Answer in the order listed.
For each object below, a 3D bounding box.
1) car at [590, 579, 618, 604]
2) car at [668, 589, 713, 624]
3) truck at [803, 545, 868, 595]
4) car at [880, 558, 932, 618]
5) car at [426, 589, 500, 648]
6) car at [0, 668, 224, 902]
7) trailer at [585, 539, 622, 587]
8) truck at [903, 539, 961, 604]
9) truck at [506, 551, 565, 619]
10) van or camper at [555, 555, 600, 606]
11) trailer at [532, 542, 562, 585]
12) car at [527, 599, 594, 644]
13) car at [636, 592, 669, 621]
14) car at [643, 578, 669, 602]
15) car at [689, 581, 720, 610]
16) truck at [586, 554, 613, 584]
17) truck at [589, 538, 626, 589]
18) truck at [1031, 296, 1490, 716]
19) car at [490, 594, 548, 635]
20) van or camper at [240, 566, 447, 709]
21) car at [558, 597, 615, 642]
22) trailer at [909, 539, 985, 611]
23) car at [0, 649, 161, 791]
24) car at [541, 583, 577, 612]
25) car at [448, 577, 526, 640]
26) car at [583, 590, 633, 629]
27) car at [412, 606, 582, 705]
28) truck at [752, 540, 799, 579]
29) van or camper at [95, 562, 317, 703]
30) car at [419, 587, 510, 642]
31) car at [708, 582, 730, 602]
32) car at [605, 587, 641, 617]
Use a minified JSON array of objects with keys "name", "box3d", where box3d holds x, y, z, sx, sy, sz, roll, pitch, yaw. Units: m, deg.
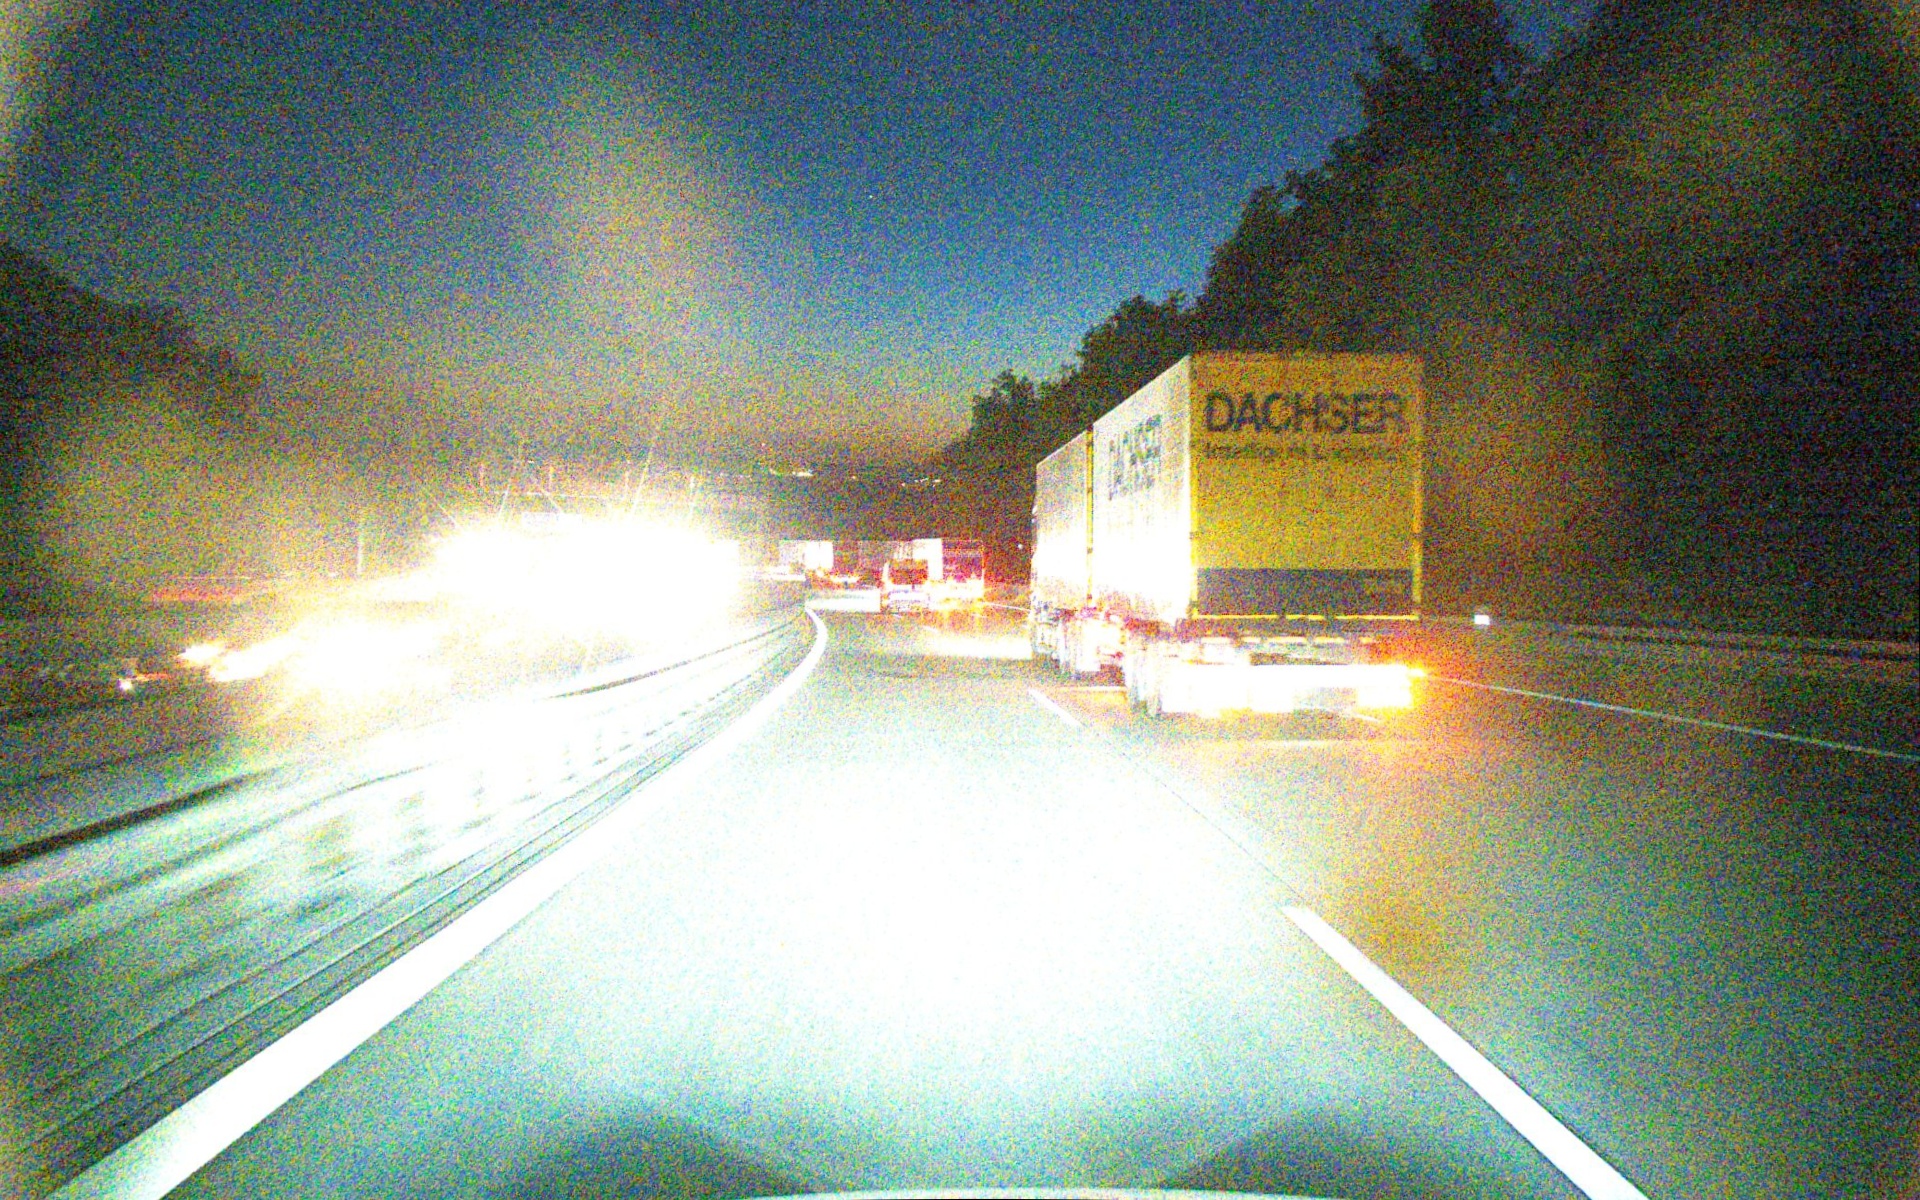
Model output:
[{"name":"car","box3d":[-26.646,-0.641,123.631,1.854,1.705,5.062,0,2,-14]},{"name":"car","box3d":[-11.279,0.248,69.390,1.721,1.378,4.285,-1,1,-7]},{"name":"truck","box3d":[-12.837,-3.125,167.935,3.846,4.707,20.956,-1,1,-12]},{"name":"car","box3d":[-2.569,-0.539,77.704,2.291,2.686,5.244,1,0,-3]},{"name":"car","box3d":[-17.996,0.614,60.087,1.957,1.993,4.975,-1,1,-10]},{"name":"car","box3d":[-7.799,1.406,13.457,1.783,1.477,4.502,0,0,-3]},{"name":"trailer","box3d":[-32.903,-3.512,152.348,2.827,4.256,14.473,0,2,-14]},{"name":"truck","box3d":[-1.926,-1.936,109.028,2.809,4.147,7.496,0,2,-9]},{"name":"truck","box3d":[-21.943,-0.763,85.740,2.332,3.317,7.704,-1,1,-10]},{"name":"van or camper","box3d":[-23.883,-1.279,103.412,2.181,3.055,7.111,0,2,-9]},{"name":"trailer","box3d":[-43.861,-3.907,175.602,2.792,4.243,13.234,-2,2,-15]},{"name":"car","box3d":[-14.641,0.774,60.765,1.574,1.505,4.072,-1,1,-3]},{"name":"car","box3d":[-17.681,0.357,95.225,1.609,1.509,4.356,-1,1,-7]},{"name":"car","box3d":[-20.633,-0.716,112.292,1.610,1.566,3.992,-1,1,-9]},{"name":"car","box3d":[-14.595,-0.246,94.648,1.649,1.593,3.993,-2,0,-8]},{"name":"truck","box3d":[-30.865,-2.653,141.490,1.961,2.501,5.031,0,2,-15]},{"name":"truck","box3d":[-30.634,-3.189,143.519,2.817,4.283,6.083,0,2,-15]},{"name":"truck","box3d":[3.474,-0.937,26.211,3.412,4.207,18.704,1,0,-1]},{"name":"car","box3d":[-19.894,0.641,74.749,1.825,1.729,4.388,-1,1,-6]},{"name":"van or camper","box3d":[-12.672,0.669,34.577,2.211,2.640,6.681,-1,1,-4]},{"name":"car","box3d":[-15.876,0.792,70.444,1.704,1.774,3.997,-1,1,-4]},{"name":"trailer","box3d":[-0.948,-1.690,102.845,2.801,4.137,13.180,0,2,-9]},{"name":"car","box3d":[-12.391,1.494,21.710,1.783,1.541,4.502,0,0,-3]},{"name":"car","box3d":[-22.822,-0.162,94.239,1.610,1.566,4.429,-1,1,-9]},{"name":"car","box3d":[-18.688,0.294,65.561,2.089,2.307,4.559,-1,1,-5]},{"name":"car","box3d":[-16.615,0.413,78.187,1.956,1.689,4.446,-1,1,-8]},{"name":"car","box3d":[-7.696,0.865,27.929,1.797,1.477,4.502,0,0,-3]},{"name":"truck","box3d":[-23.183,-5.094,206.898,3.291,4.553,13.847,3,1,-17]},{"name":"van or camper","box3d":[-16.351,0.638,36.354,2.398,2.809,6.481,0,0,-5]},{"name":"car","box3d":[-14.116,0.399,47.295,1.714,1.478,3.837,-1,0,-5]},{"name":"car","box3d":[-16.409,-0.536,112.429,1.392,1.278,3.122,0,2,-9]},{"name":"car","box3d":[-16.921,0.074,83.278,1.504,1.359,4.213,-1,1,-8]}]
